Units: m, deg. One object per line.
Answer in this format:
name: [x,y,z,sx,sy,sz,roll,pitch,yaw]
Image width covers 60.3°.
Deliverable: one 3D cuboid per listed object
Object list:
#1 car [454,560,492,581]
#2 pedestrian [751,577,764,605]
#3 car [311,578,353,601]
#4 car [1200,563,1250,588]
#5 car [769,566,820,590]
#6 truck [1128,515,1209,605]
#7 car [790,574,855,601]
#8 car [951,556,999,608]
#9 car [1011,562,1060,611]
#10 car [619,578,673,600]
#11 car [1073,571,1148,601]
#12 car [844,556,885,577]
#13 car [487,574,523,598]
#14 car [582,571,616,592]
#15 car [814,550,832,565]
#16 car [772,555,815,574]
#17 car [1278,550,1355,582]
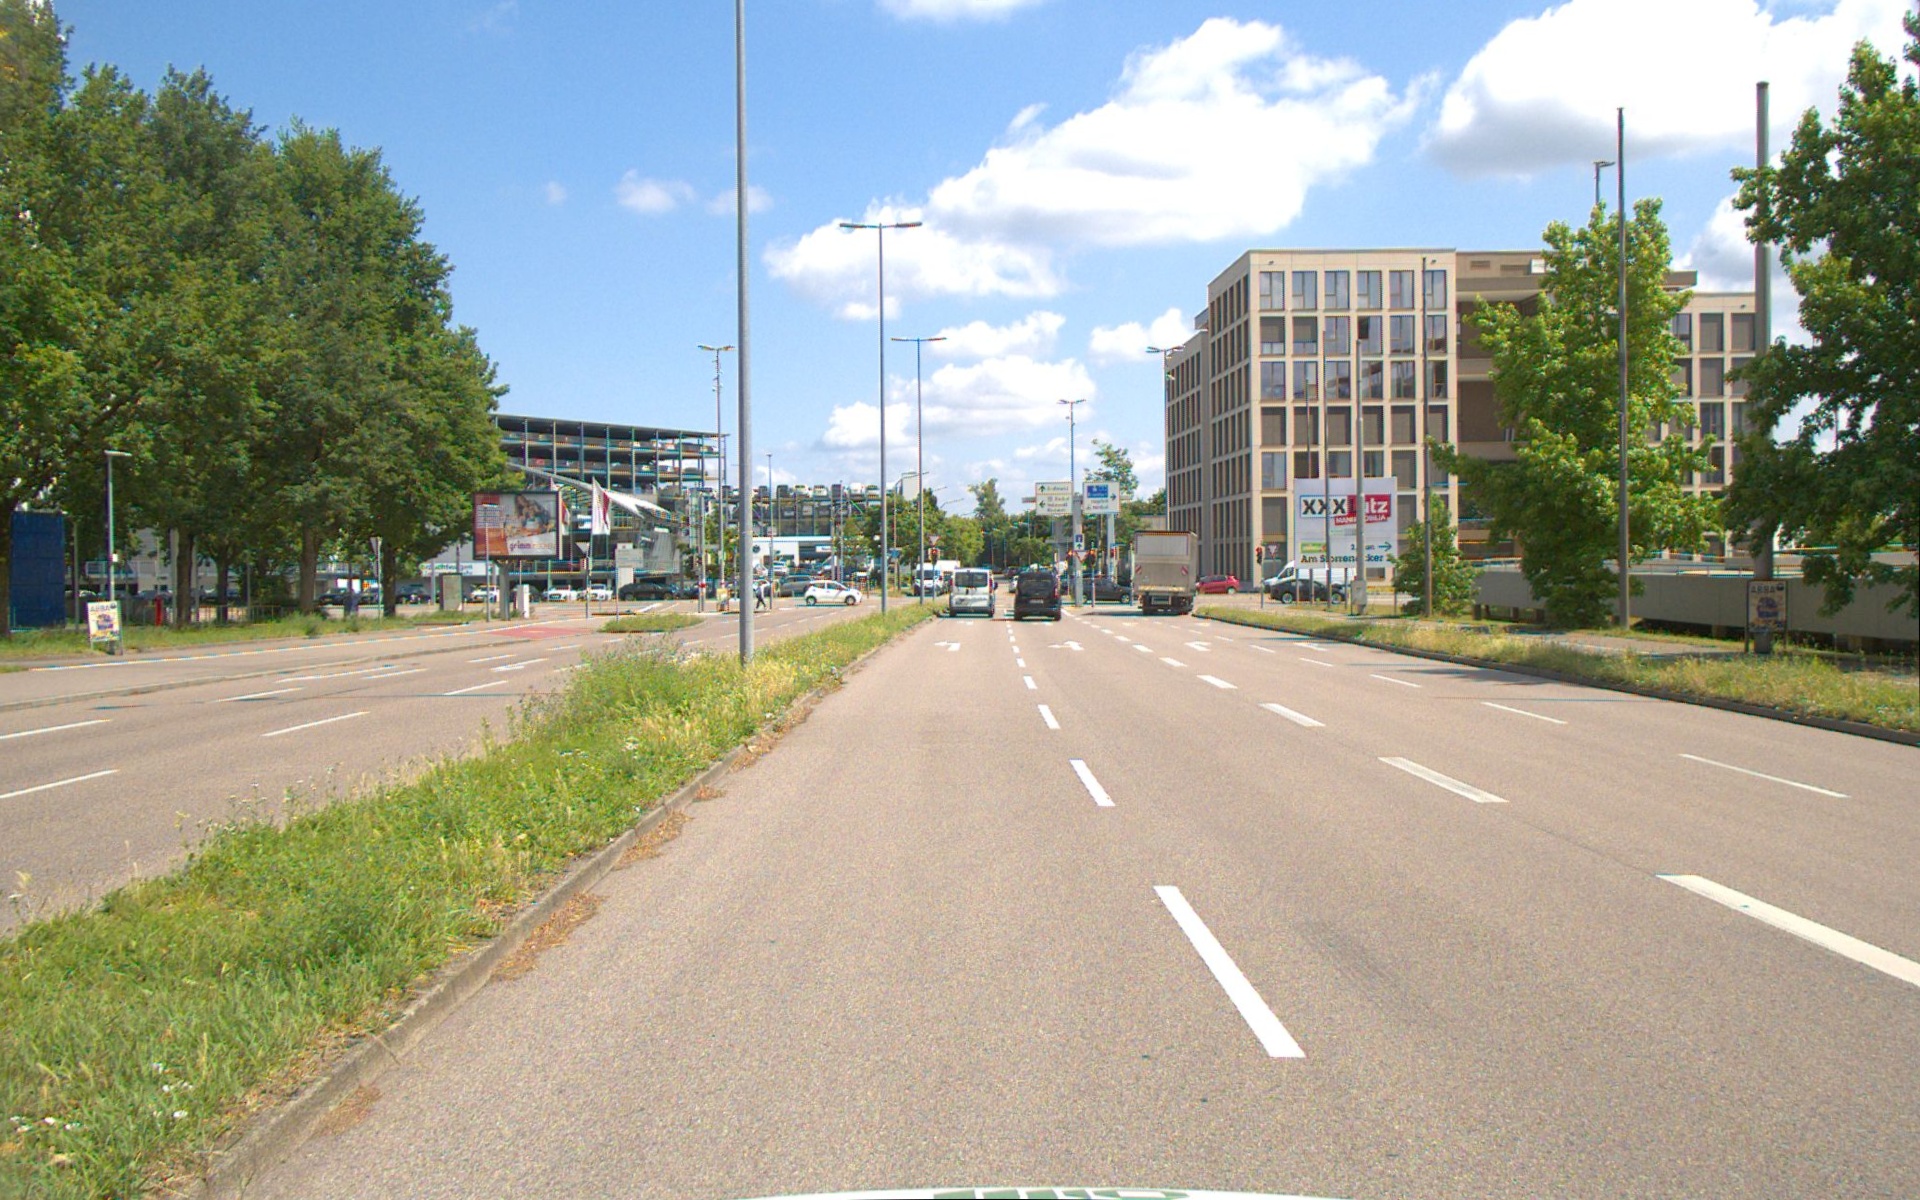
car: [-35.670,-2.184,121.274,1.841,1.512,3.700,-1,2,-3]
pedestrian: [-10.888,-0.482,89.036,0.460,1.538,0.511,0,1,26]
car: [-45.376,-0.770,119.499,1.800,1.513,3.699,-1,2,-4]
car: [18.083,-1.685,112.953,3.206,1.428,1.335,-1,10,-1]
car: [-12.779,-1.688,127.793,3.784,1.667,1.857,-2,2,-3]
truck: [9.988,-1.939,78.479,3.063,4.009,8.867,0,2,12]
car: [-8.071,-0.753,97.533,3.775,1.492,1.694,-1,2,-4]
car: [0.643,-0.779,69.155,1.817,2.053,4.003,0,2,3]
car: [2.969,-0.570,64.194,1.781,1.840,4.003,0,1,4]
car: [-23.099,-0.846,121.800,3.717,1.539,1.678,-1,2,-4]
car: [8.675,-0.833,95.125,4.056,1.529,1.628,-2,2,12]
car: [-9.231,-3.255,159.153,3.909,1.959,1.825,0,1,-5]
car: [-33.367,-1.053,121.361,1.722,1.689,3.615,-1,2,-3]
car: [-26.688,-1.396,122.280,1.740,1.475,4.028,-1,2,-3]
car: [-14.914,-4.651,179.826,1.809,1.556,3.998,-1,2,-3]
car: [-15.972,-3.430,158.544,4.083,1.742,1.687,0,2,-5]
car: [26.085,-2.510,121.194,5.379,2.294,2.002,0,2,10]
